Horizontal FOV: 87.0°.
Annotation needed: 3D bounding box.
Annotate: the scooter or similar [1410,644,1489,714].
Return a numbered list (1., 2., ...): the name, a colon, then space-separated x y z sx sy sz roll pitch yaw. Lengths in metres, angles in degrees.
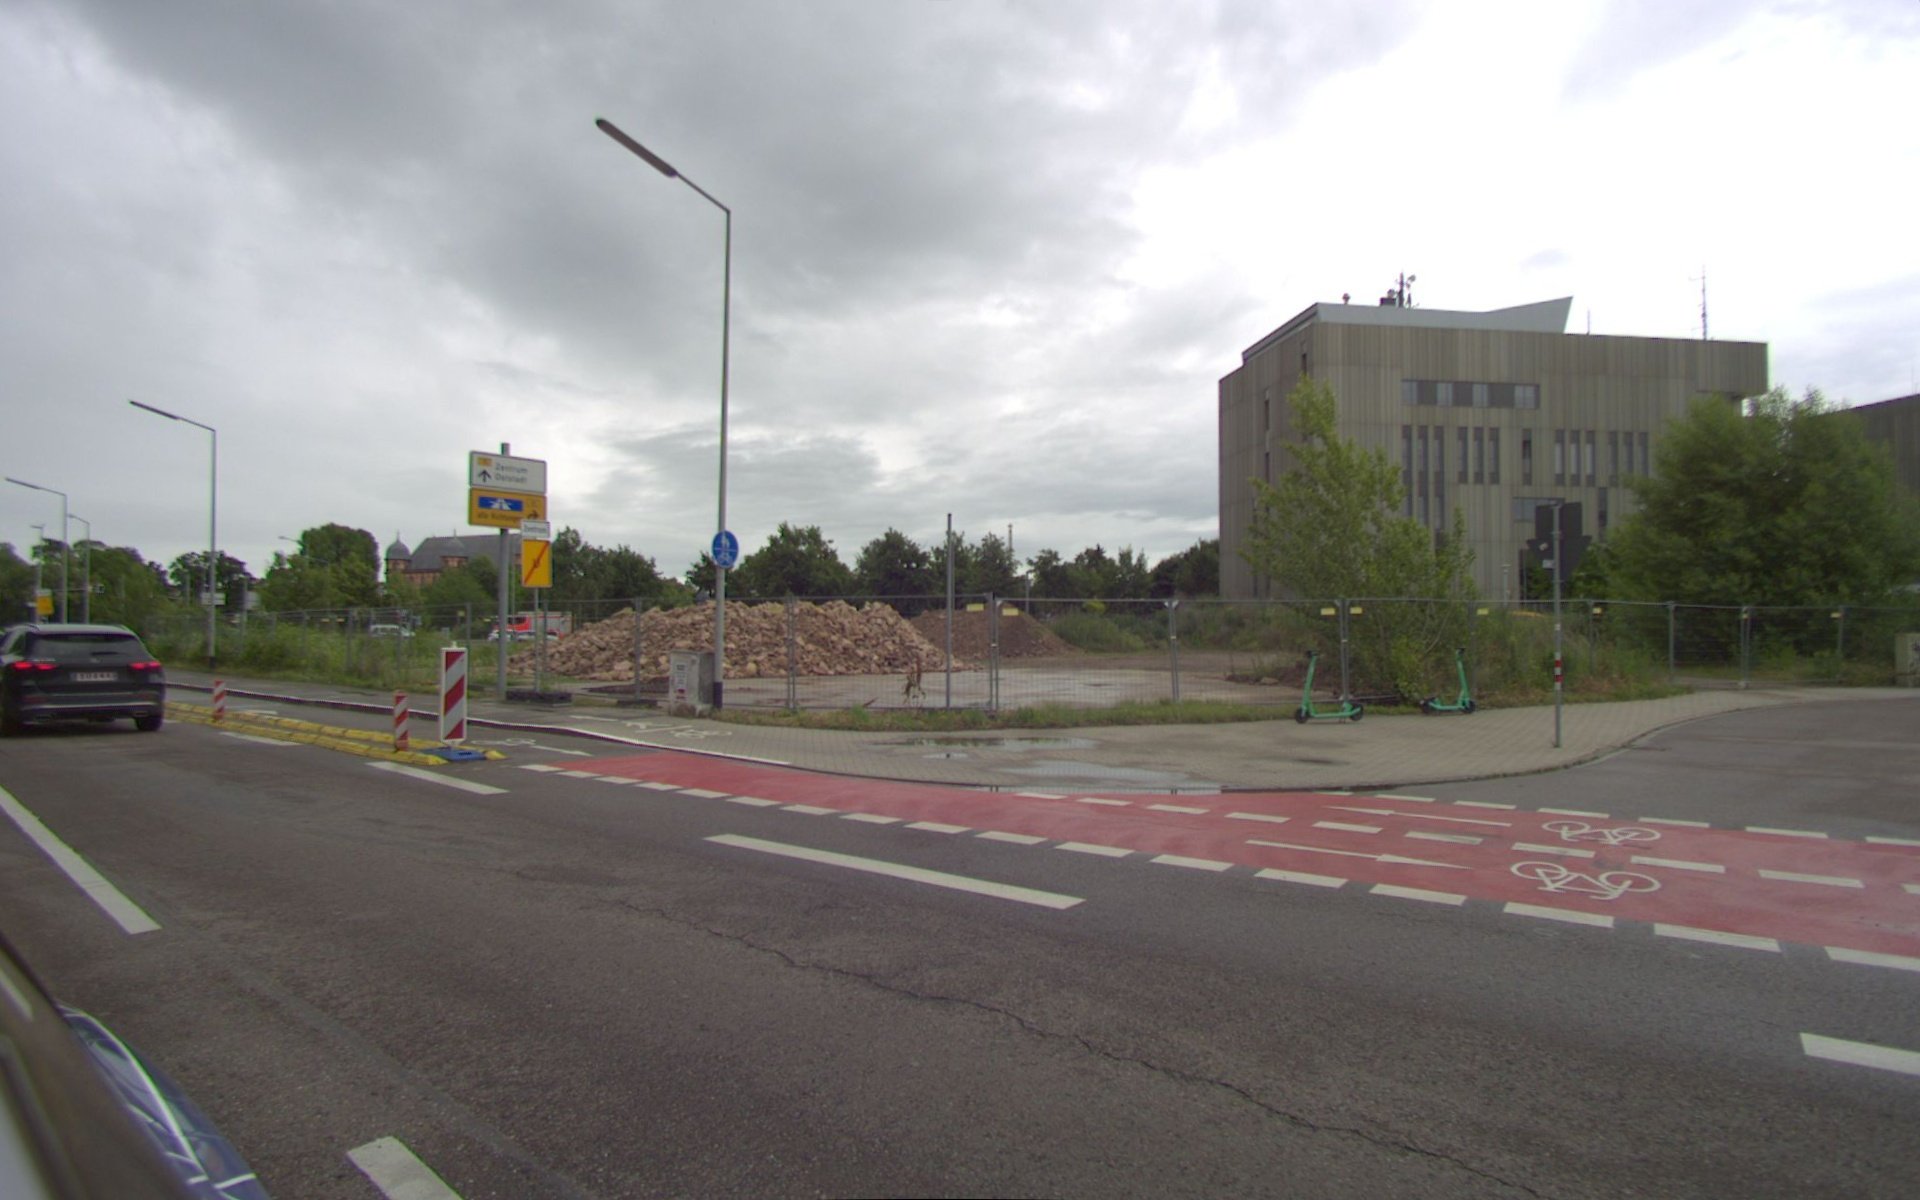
1. scooter or similar: 8.475 1.349 17.512 1.315 1.151 0.413 0 -1 -19

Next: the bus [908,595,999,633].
1. bus: -0.749 1.582 112.671 9.732 4.013 2.739 0 -3 -9

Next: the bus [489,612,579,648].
1. bus: -44.748 3.220 106.565 8.262 3.676 2.740 0 -3 -10

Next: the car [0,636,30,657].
1. car: -76.848 3.689 80.331 4.290 1.630 2.003 2 -4 -40

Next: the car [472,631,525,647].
1. car: -43.375 3.616 95.168 4.356 1.468 1.838 0 -2 -20

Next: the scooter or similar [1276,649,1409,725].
1. scooter or similar: 6.120 1.383 16.247 1.874 1.151 0.657 0 -2 -4

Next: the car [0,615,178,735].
1. car: -13.712 1.100 15.439 4.353 1.579 1.862 -3 -4 39

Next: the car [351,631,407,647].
1. car: -54.863 3.715 95.670 4.398 1.468 1.928 1 -2 -26
